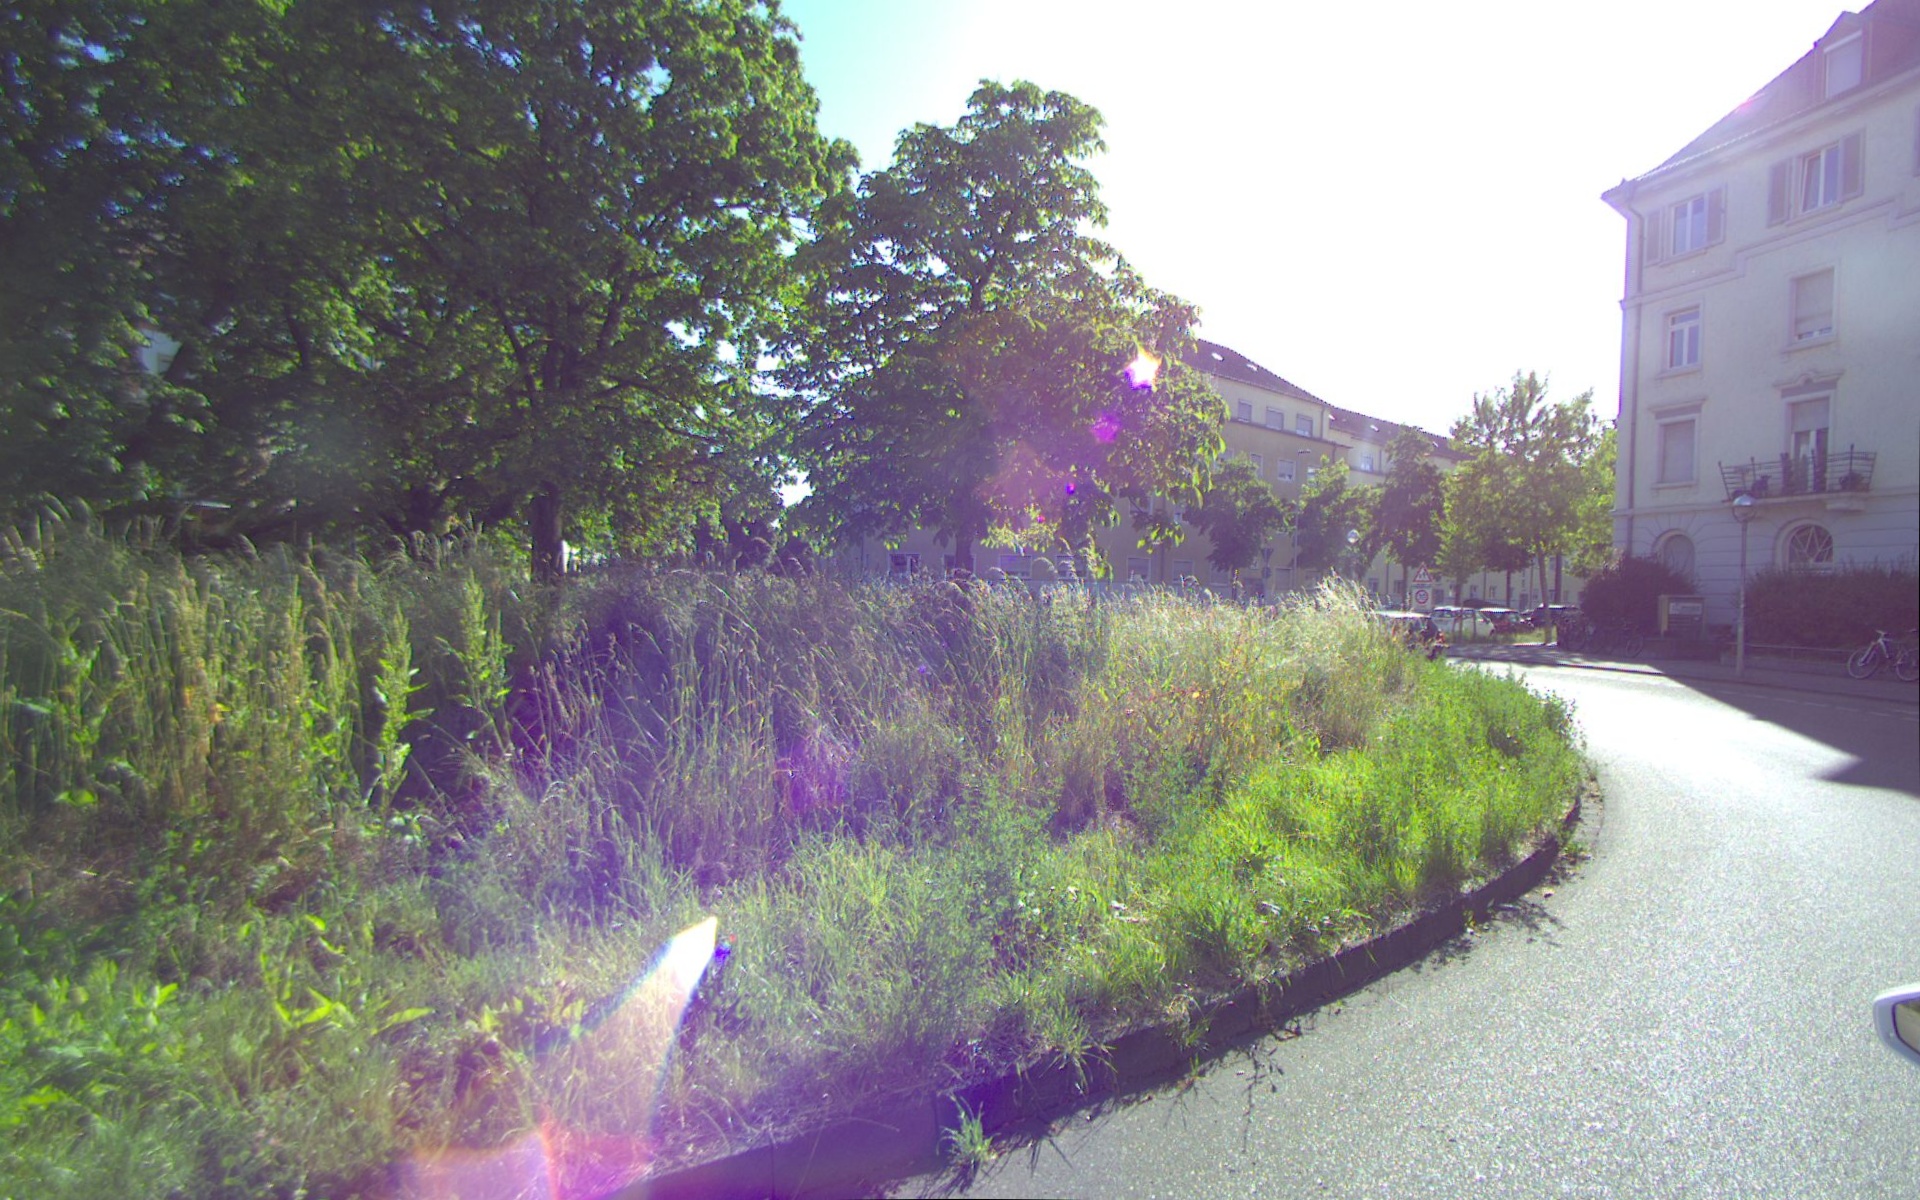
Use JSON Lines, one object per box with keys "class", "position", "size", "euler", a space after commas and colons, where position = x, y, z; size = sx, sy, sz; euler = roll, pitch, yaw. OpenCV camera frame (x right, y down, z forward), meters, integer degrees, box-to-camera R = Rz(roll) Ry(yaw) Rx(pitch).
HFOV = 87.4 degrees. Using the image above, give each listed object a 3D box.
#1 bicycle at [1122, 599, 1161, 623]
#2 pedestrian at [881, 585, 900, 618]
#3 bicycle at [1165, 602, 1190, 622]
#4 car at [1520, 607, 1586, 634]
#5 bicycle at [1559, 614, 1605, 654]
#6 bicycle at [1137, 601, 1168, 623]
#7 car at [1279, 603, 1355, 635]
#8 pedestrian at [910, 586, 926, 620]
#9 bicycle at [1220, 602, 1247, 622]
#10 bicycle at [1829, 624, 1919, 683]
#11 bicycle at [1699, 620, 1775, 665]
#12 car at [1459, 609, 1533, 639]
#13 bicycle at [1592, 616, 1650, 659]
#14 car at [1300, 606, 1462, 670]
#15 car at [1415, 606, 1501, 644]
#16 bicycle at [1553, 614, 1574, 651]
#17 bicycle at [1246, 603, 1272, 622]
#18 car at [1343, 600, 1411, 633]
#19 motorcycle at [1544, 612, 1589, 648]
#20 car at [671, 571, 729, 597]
{"class": "bicycle", "position": [8.846, 0.534, 48.945], "size": [1.767, 1.122, 0.499], "euler": [1, 1, -9]}
{"class": "pedestrian", "position": [-3.300, 0.063, 47.804], "size": [0.812, 1.544, 0.695], "euler": [-1, 1, -14]}
{"class": "bicycle", "position": [11.089, 0.612, 51.222], "size": [1.439, 1.040, 0.494], "euler": [1, 1, -42]}
{"class": "car", "position": [29.046, 1.009, 49.181], "size": [3.691, 1.272, 1.778], "euler": [1, 0, -42]}
{"class": "bicycle", "position": [18.693, 1.006, 30.230], "size": [0.490, 1.122, 1.801], "euler": [1, 1, 9]}
{"class": "bicycle", "position": [9.576, 0.581, 50.005], "size": [1.423, 1.040, 0.499], "euler": [1, 1, -9]}
{"class": "car", "position": [16.895, 0.909, 47.479], "size": [3.973, 1.430, 1.780], "euler": [2, 0, -44]}
{"class": "pedestrian", "position": [-1.943, 0.124, 46.081], "size": [0.638, 1.544, 0.696], "euler": [-1, 1, -11]}
{"class": "bicycle", "position": [14.810, 0.664, 54.377], "size": [1.432, 1.040, 0.496], "euler": [1, 1, -29]}
{"class": "bicycle", "position": [18.656, 1.071, 20.461], "size": [0.492, 1.103, 1.687], "euler": [0, 0, 3]}
{"class": "bicycle", "position": [19.603, 1.064, 25.358], "size": [1.651, 1.122, 0.499], "euler": [0, 0, -8]}
{"class": "car", "position": [23.968, 1.070, 44.899], "size": [3.691, 1.272, 1.778], "euler": [1, 0, -42]}
{"class": "bicycle", "position": [18.608, 1.027, 28.307], "size": [0.490, 1.122, 1.800], "euler": [1, 1, 3]}
{"class": "car", "position": [10.481, 0.895, 25.358], "size": [1.838, 1.438, 3.991], "euler": [0, 1, -12]}
{"class": "car", "position": [20.693, 1.031, 41.692], "size": [3.968, 1.432, 1.779], "euler": [1, 0, -41]}
{"class": "bicycle", "position": [19.429, 1.030, 32.371], "size": [0.491, 1.122, 1.947], "euler": [1, 1, 29]}
{"class": "bicycle", "position": [16.646, 0.689, 55.872], "size": [1.432, 1.040, 0.496], "euler": [1, 1, -29]}
{"class": "car", "position": [21.394, 0.865, 51.455], "size": [3.973, 1.597, 1.777], "euler": [2, -1, -44]}
{"class": "motorcycle", "position": [21.004, 1.025, 34.807], "size": [1.477, 1.207, 0.879], "euler": [0, -1, -39]}
{"class": "car", "position": [-21.332, -1.344, 82.423], "size": [4.119, 2.014, 2.171], "euler": [1, 0, 24]}
